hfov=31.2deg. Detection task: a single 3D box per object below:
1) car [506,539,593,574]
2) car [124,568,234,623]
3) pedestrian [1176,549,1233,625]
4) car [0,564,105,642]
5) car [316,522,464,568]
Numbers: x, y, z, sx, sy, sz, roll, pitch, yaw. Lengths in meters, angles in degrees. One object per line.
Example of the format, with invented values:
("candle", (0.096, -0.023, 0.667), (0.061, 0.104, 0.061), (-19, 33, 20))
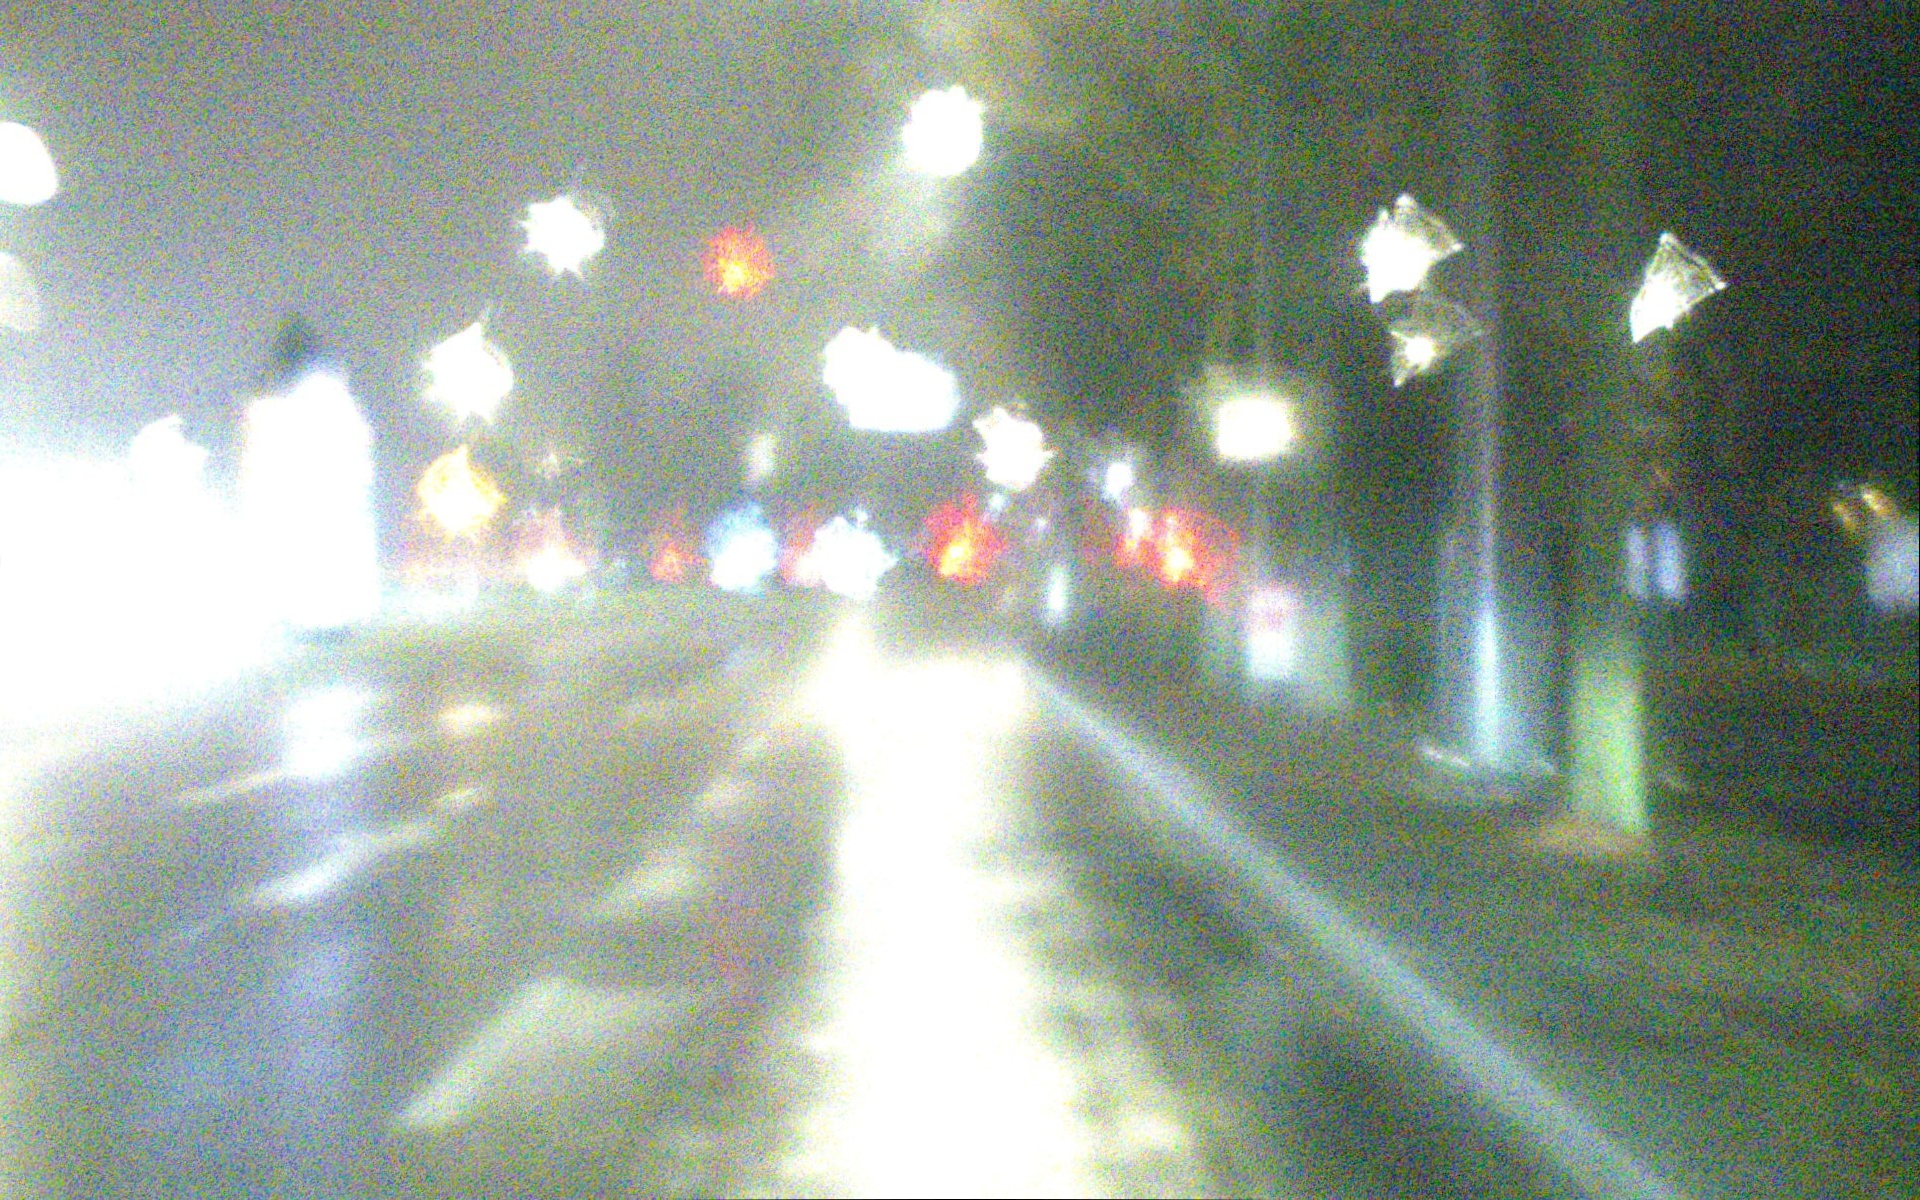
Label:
("car", (-19.180, -2.035, 160.651), (3.986, 1.610, 1.837), (1, 1, -7))
("car", (-22.160, -0.147, 97.437), (1.829, 1.459, 4.000), (0, 1, -32))
("pedestrian", (5.896, -0.329, 82.874), (1.227, 1.787, 1.490), (1, 1, -1))
("car", (-21.279, 0.045, 79.721), (1.829, 1.707, 4.441), (1, 1, -1))
("car", (-26.313, -2.535, 158.689), (6.292, 2.082, 2.516), (0, 1, -25))
